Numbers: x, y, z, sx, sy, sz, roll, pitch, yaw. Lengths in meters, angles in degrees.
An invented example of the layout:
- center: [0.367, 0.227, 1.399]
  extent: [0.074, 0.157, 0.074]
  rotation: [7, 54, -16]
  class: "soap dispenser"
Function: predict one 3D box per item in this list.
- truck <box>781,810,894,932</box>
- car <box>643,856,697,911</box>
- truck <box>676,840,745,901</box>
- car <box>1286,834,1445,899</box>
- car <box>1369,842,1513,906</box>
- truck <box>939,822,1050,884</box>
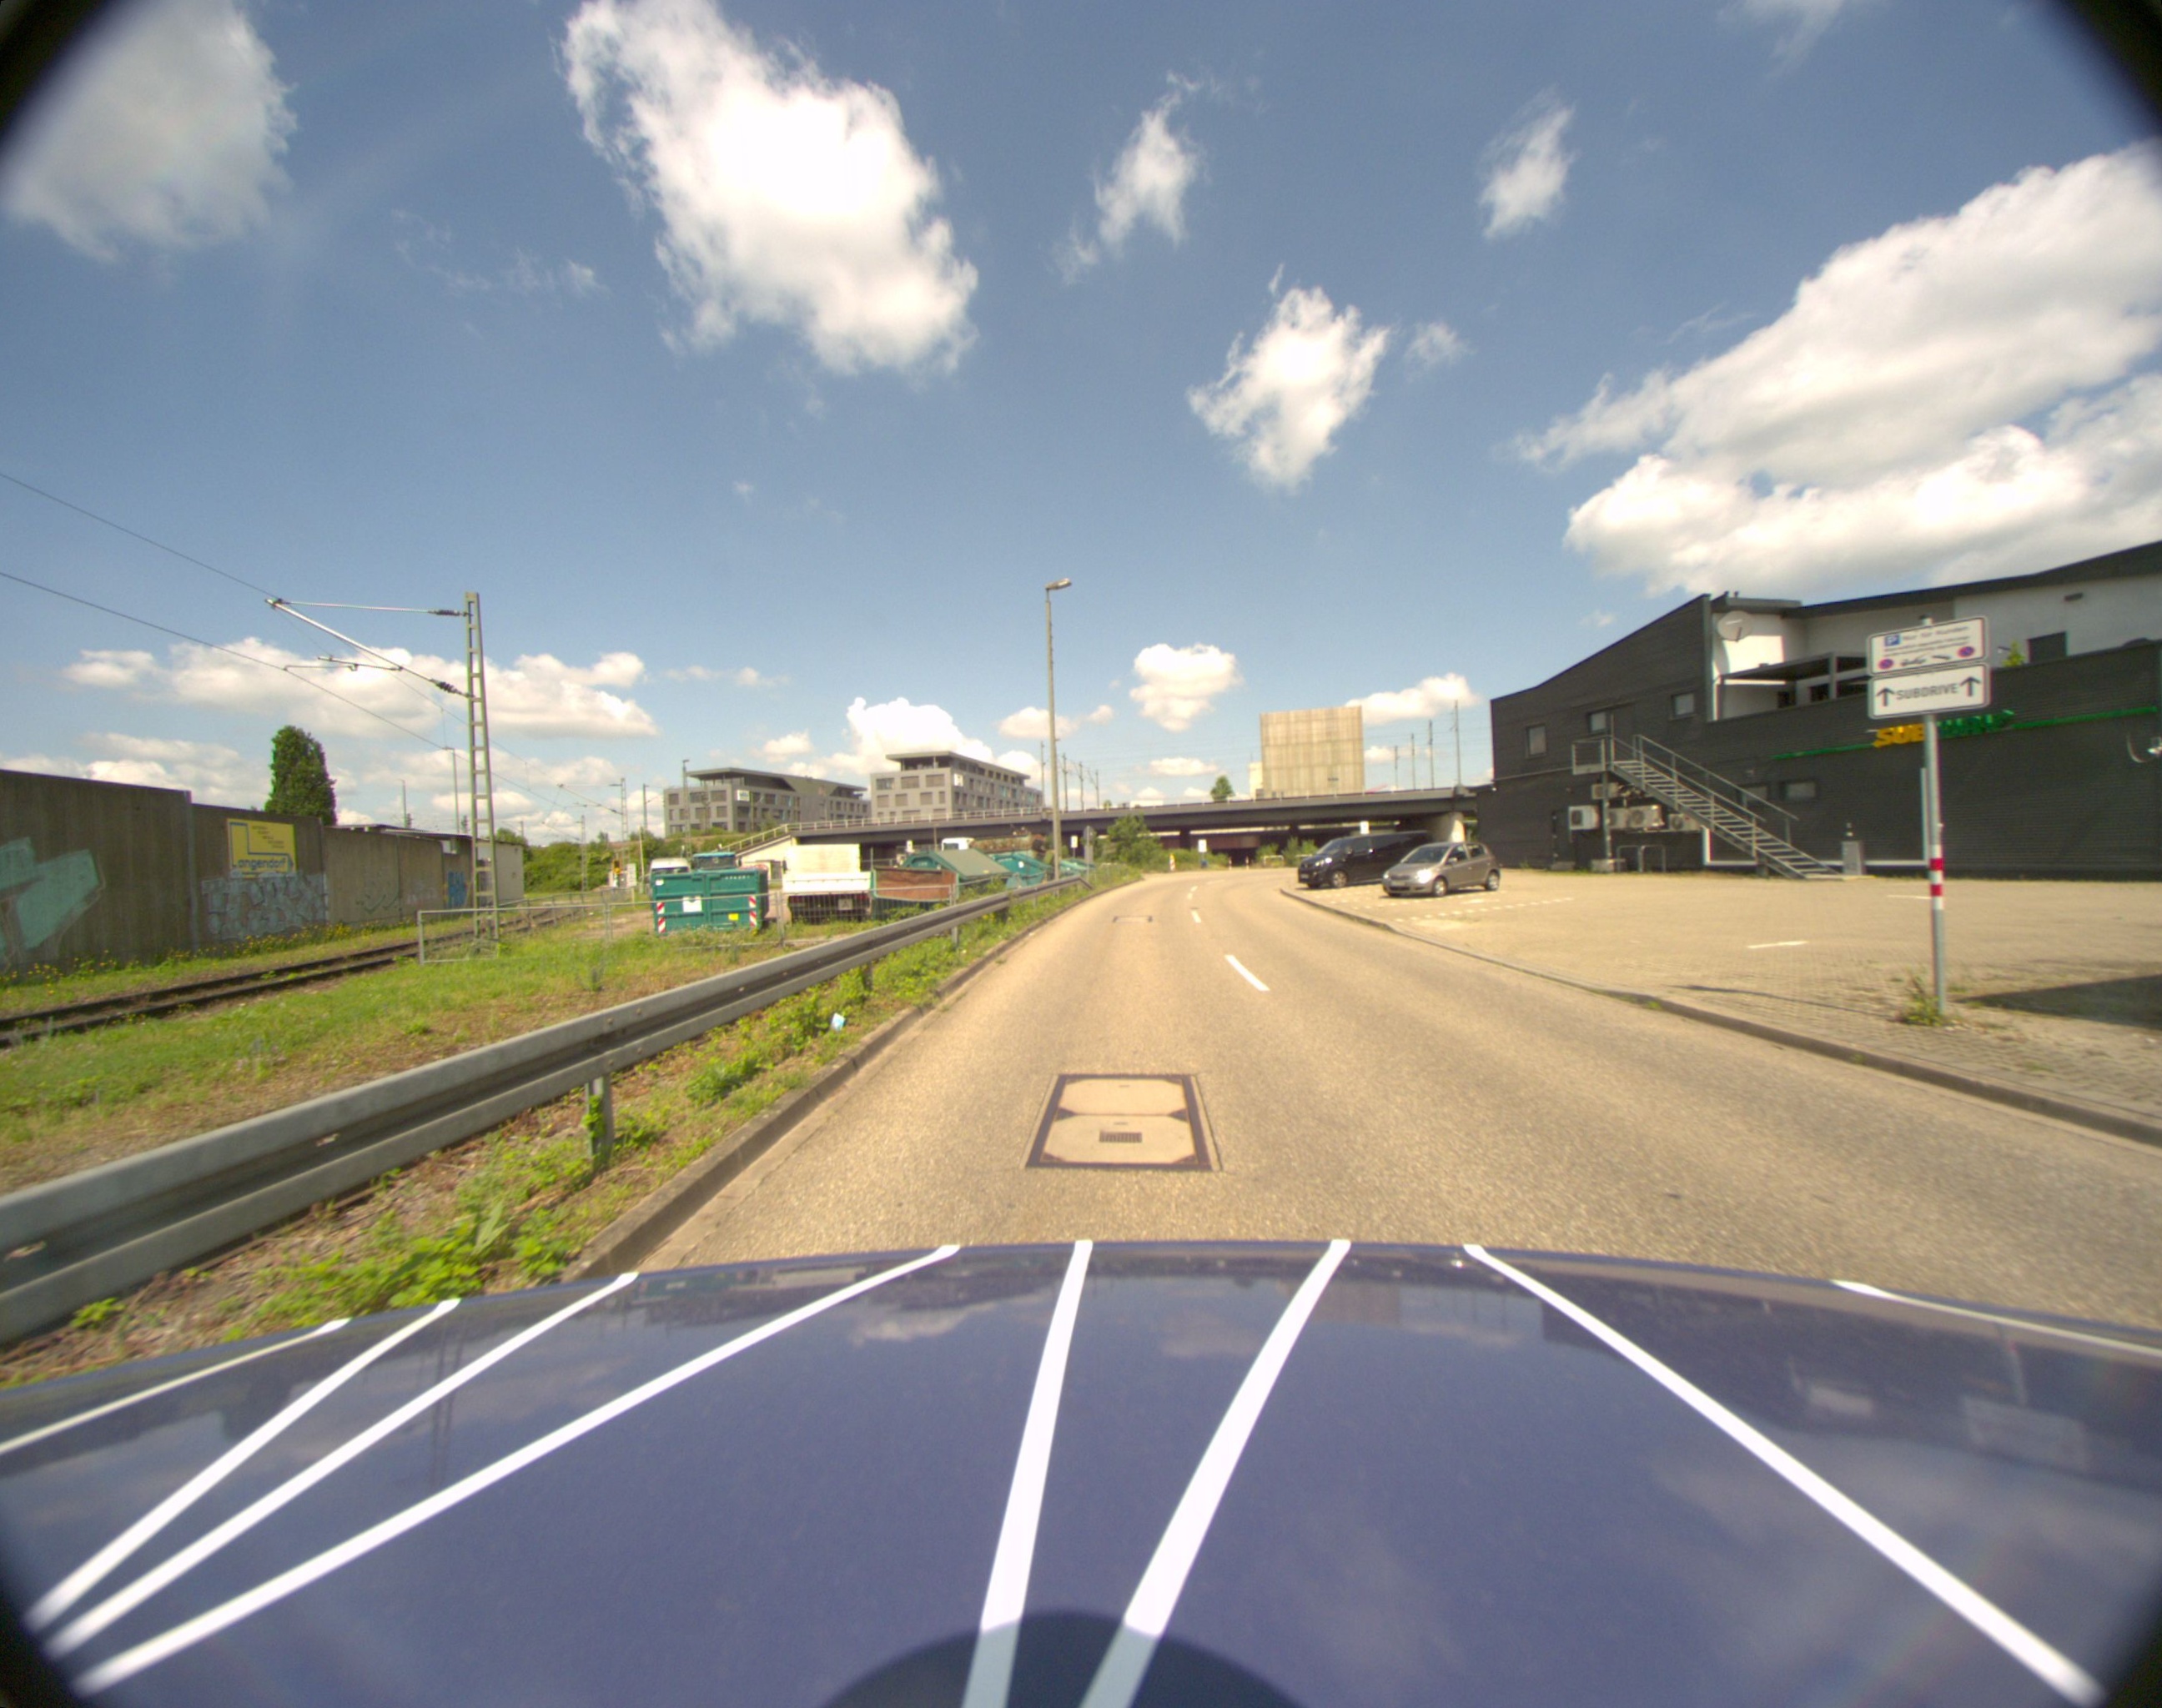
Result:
- center: [-8.411, 0.470, 25.878]
  extent: [2.998, 3.400, 8.100]
  rotation: [-2, 1, -20]
  class: "truck"
- center: [-21.167, 1.443, 39.361]
  extent: [2.069, 2.512, 5.869]
  rotation: [-4, 2, -26]
  class: "car"
- center: [-24.520, 1.048, 50.094]
  extent: [2.659, 3.625, 6.870]
  rotation: [-5, 3, -36]
  class: "truck"
- center: [10.720, 0.418, 28.728]
  extent: [5.345, 1.905, 1.997]
  rotation: [-5, 2, -14]
  class: "car"
- center: [10.294, 0.541, 21.698]
  extent: [3.700, 1.468, 1.794]
  rotation: [-4, 1, -29]
  class: "car"
- center: [-4.633, -0.031, 40.940]
  extent: [5.504, 3.080, 2.002]
  rotation: [-2, 1, 14]
  class: "truck"
